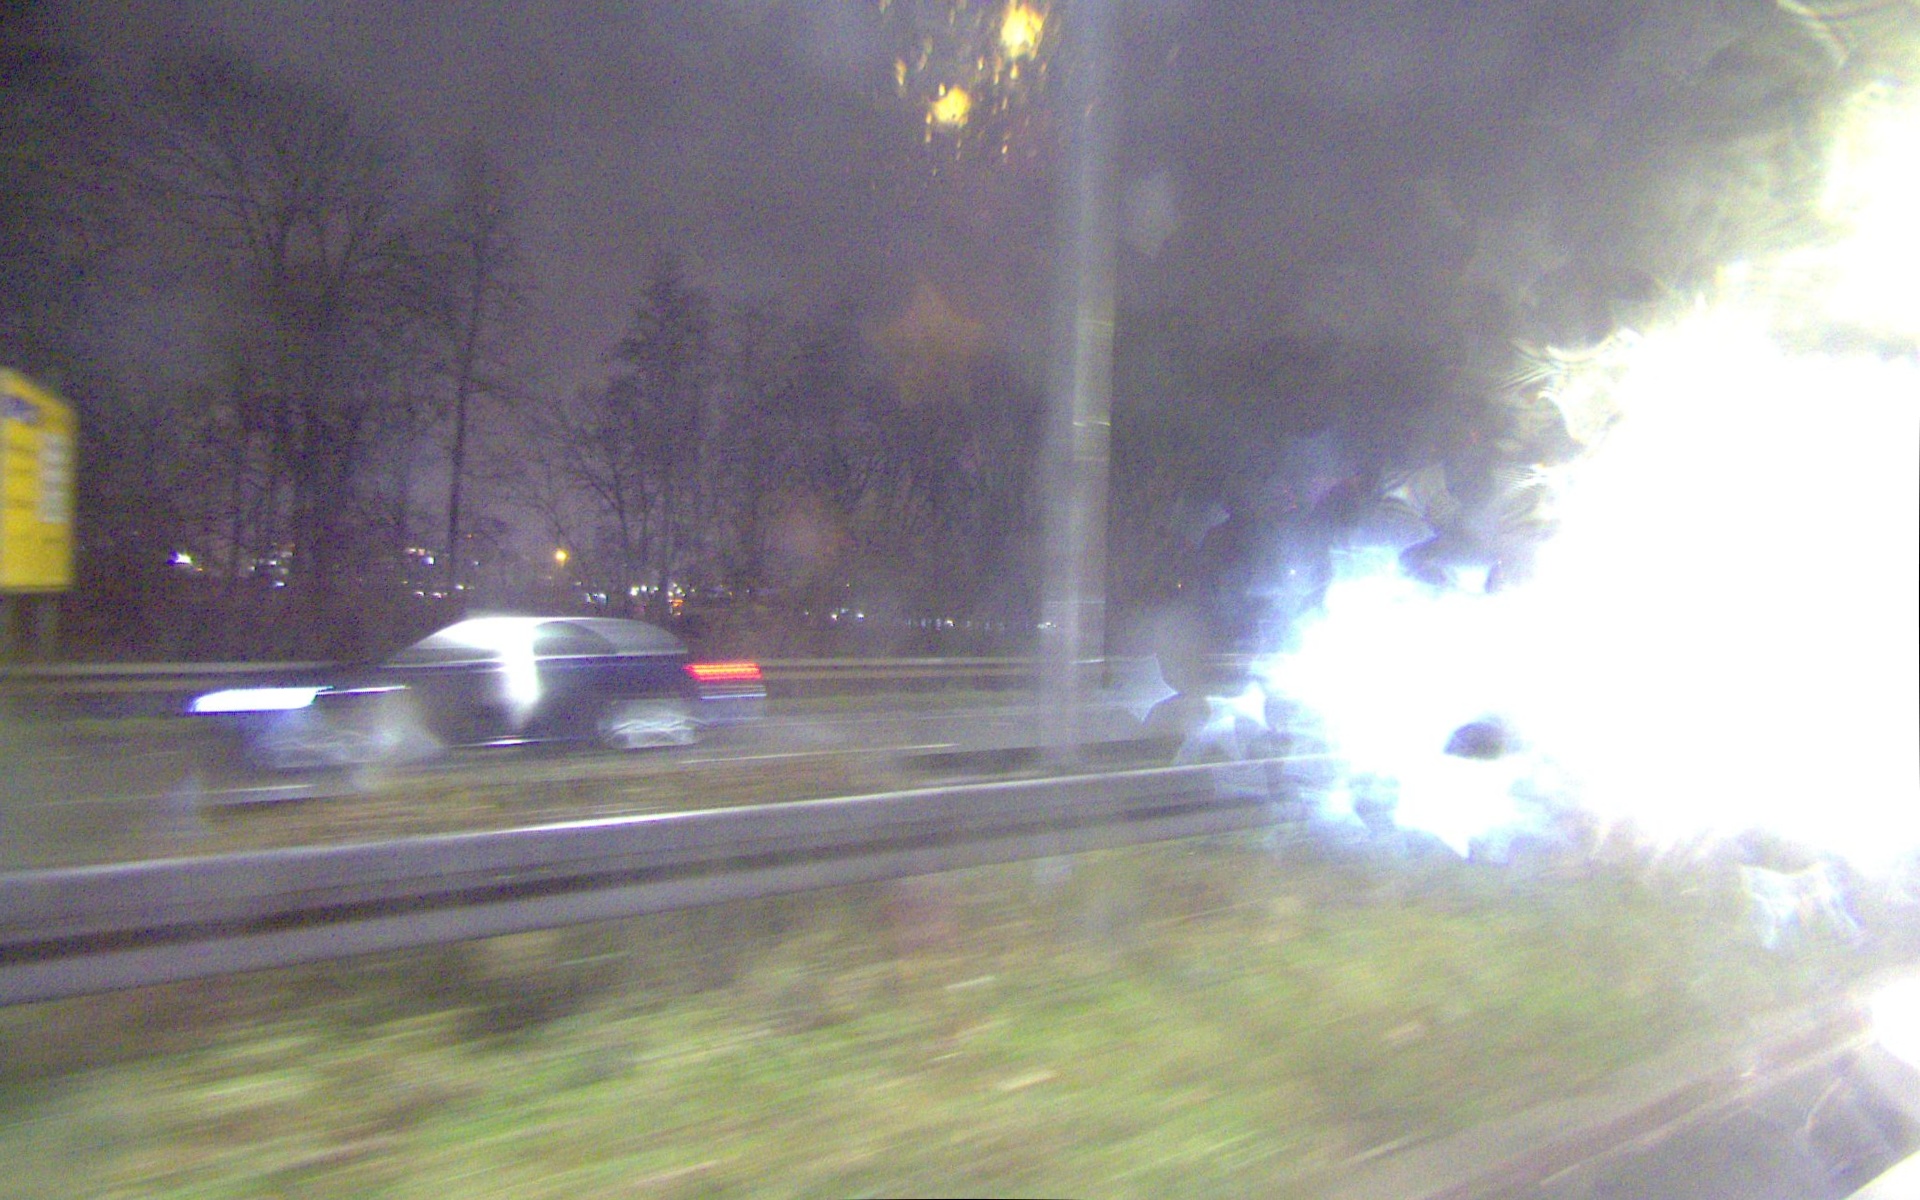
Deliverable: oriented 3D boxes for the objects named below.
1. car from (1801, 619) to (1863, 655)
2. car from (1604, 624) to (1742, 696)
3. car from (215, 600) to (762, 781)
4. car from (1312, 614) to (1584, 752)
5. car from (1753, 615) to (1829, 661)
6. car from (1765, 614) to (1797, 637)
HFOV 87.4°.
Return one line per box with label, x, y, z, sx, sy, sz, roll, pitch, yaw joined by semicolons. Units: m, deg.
car;40.776;1.730;46.950;4.529;1.614;1.758;2;-2;-43
car;18.412;1.477;25.869;4.212;1.653;1.752;1;0;-38
car;-4.478;0.797;10.020;4.617;1.441;1.702;0;-4;-33
car;6.959;1.084;14.148;4.213;1.629;1.854;3;-1;-39
car;31.257;1.391;37.769;3.483;1.592;1.831;0;0;-44
car;58.640;1.839;71.793;1.720;1.522;3.982;1;-1;39
